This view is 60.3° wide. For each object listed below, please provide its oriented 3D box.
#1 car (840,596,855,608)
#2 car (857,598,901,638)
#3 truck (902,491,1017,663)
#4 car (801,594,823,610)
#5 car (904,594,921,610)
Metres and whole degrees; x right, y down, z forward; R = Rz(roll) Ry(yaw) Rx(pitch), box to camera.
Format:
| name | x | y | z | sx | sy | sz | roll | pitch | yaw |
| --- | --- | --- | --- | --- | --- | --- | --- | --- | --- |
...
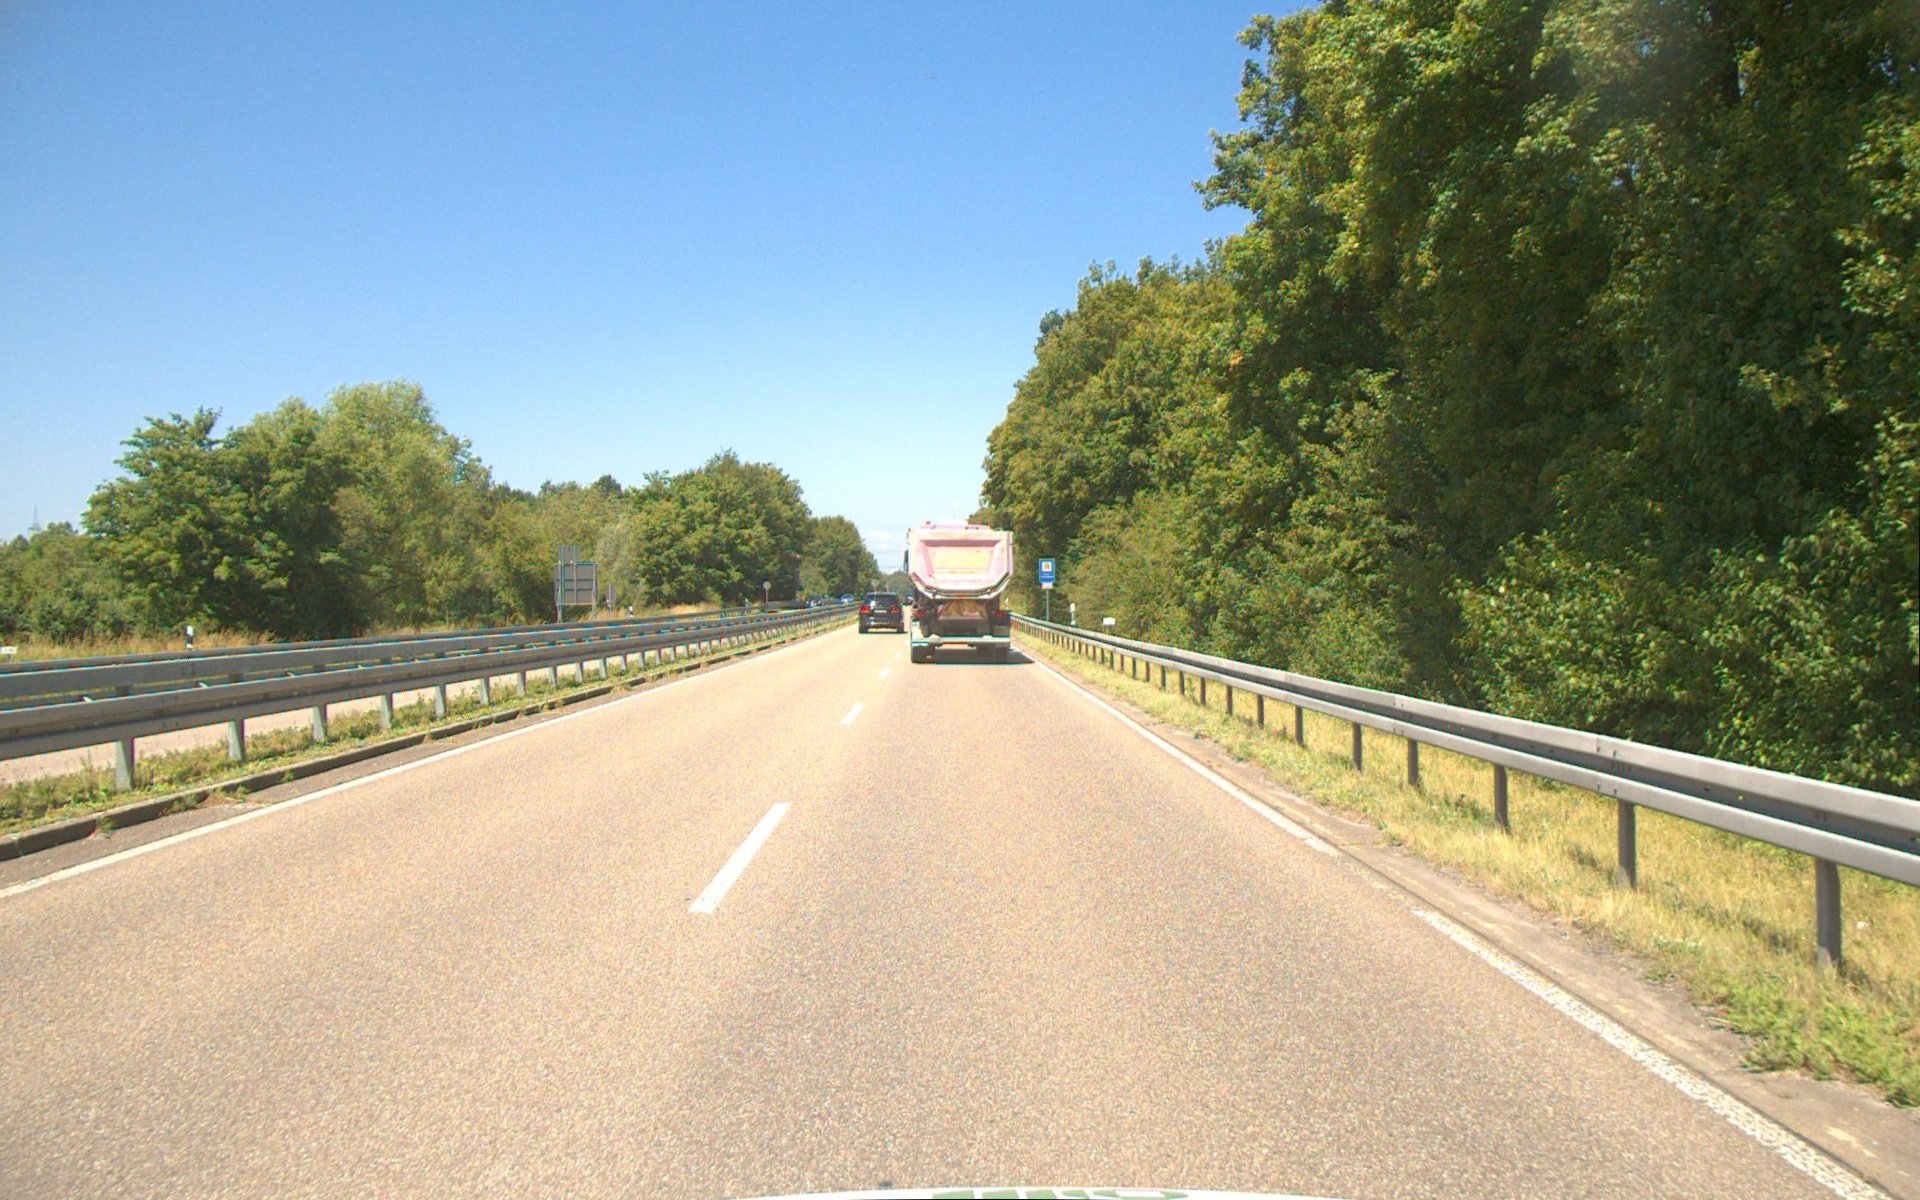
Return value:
| name | x | y | z | sx | sy | sz | roll | pitch | yaw |
| --- | --- | --- | --- | --- | --- | --- | --- | --- | --- |
| car | -15.634 | 0.282 | 230.320 | 1.775 | 1.570 | 4.928 | -2 | 1 | -1 |
| car | -3.505 | 0.798 | 72.074 | 1.820 | 1.701 | 3.998 | 0 | -1 | -2 |
| truck | -0.170 | -0.589 | 44.755 | 2.665 | 3.999 | 12.366 | 0 | 0 | -1 |
| car | -15.795 | 0.215 | 176.513 | 1.743 | 1.648 | 4.506 | -3 | 0 | 1 |
| car | -5.305 | 0.239 | 184.493 | 1.820 | 1.748 | 3.998 | 0 | -1 | -2 |
